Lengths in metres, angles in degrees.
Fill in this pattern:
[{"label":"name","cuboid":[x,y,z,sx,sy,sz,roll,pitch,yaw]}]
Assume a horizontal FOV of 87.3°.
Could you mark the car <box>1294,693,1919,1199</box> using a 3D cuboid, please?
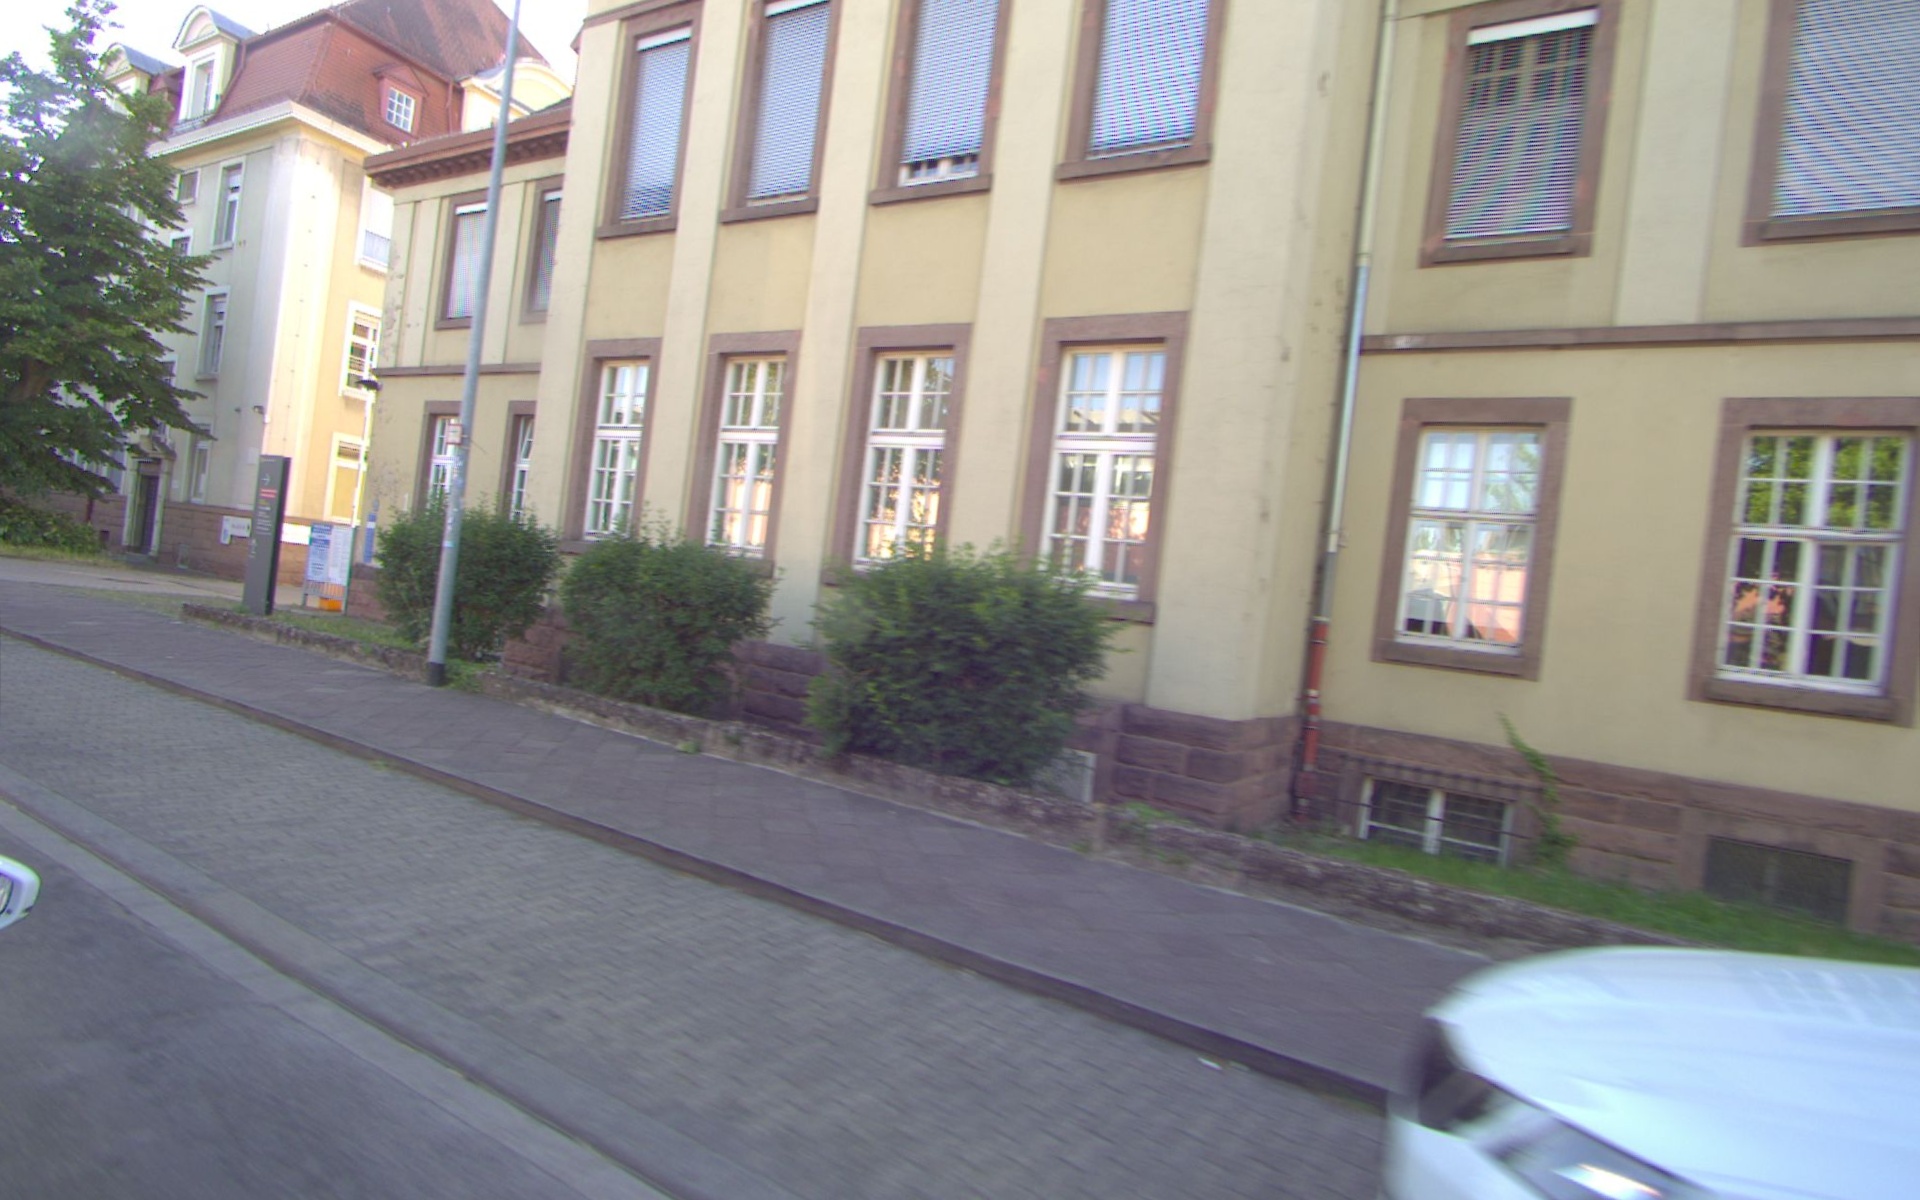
[{"label":"car","cuboid":[3.001,1.137,1.551,4.420,1.339,1.835,7,0,31]}]
